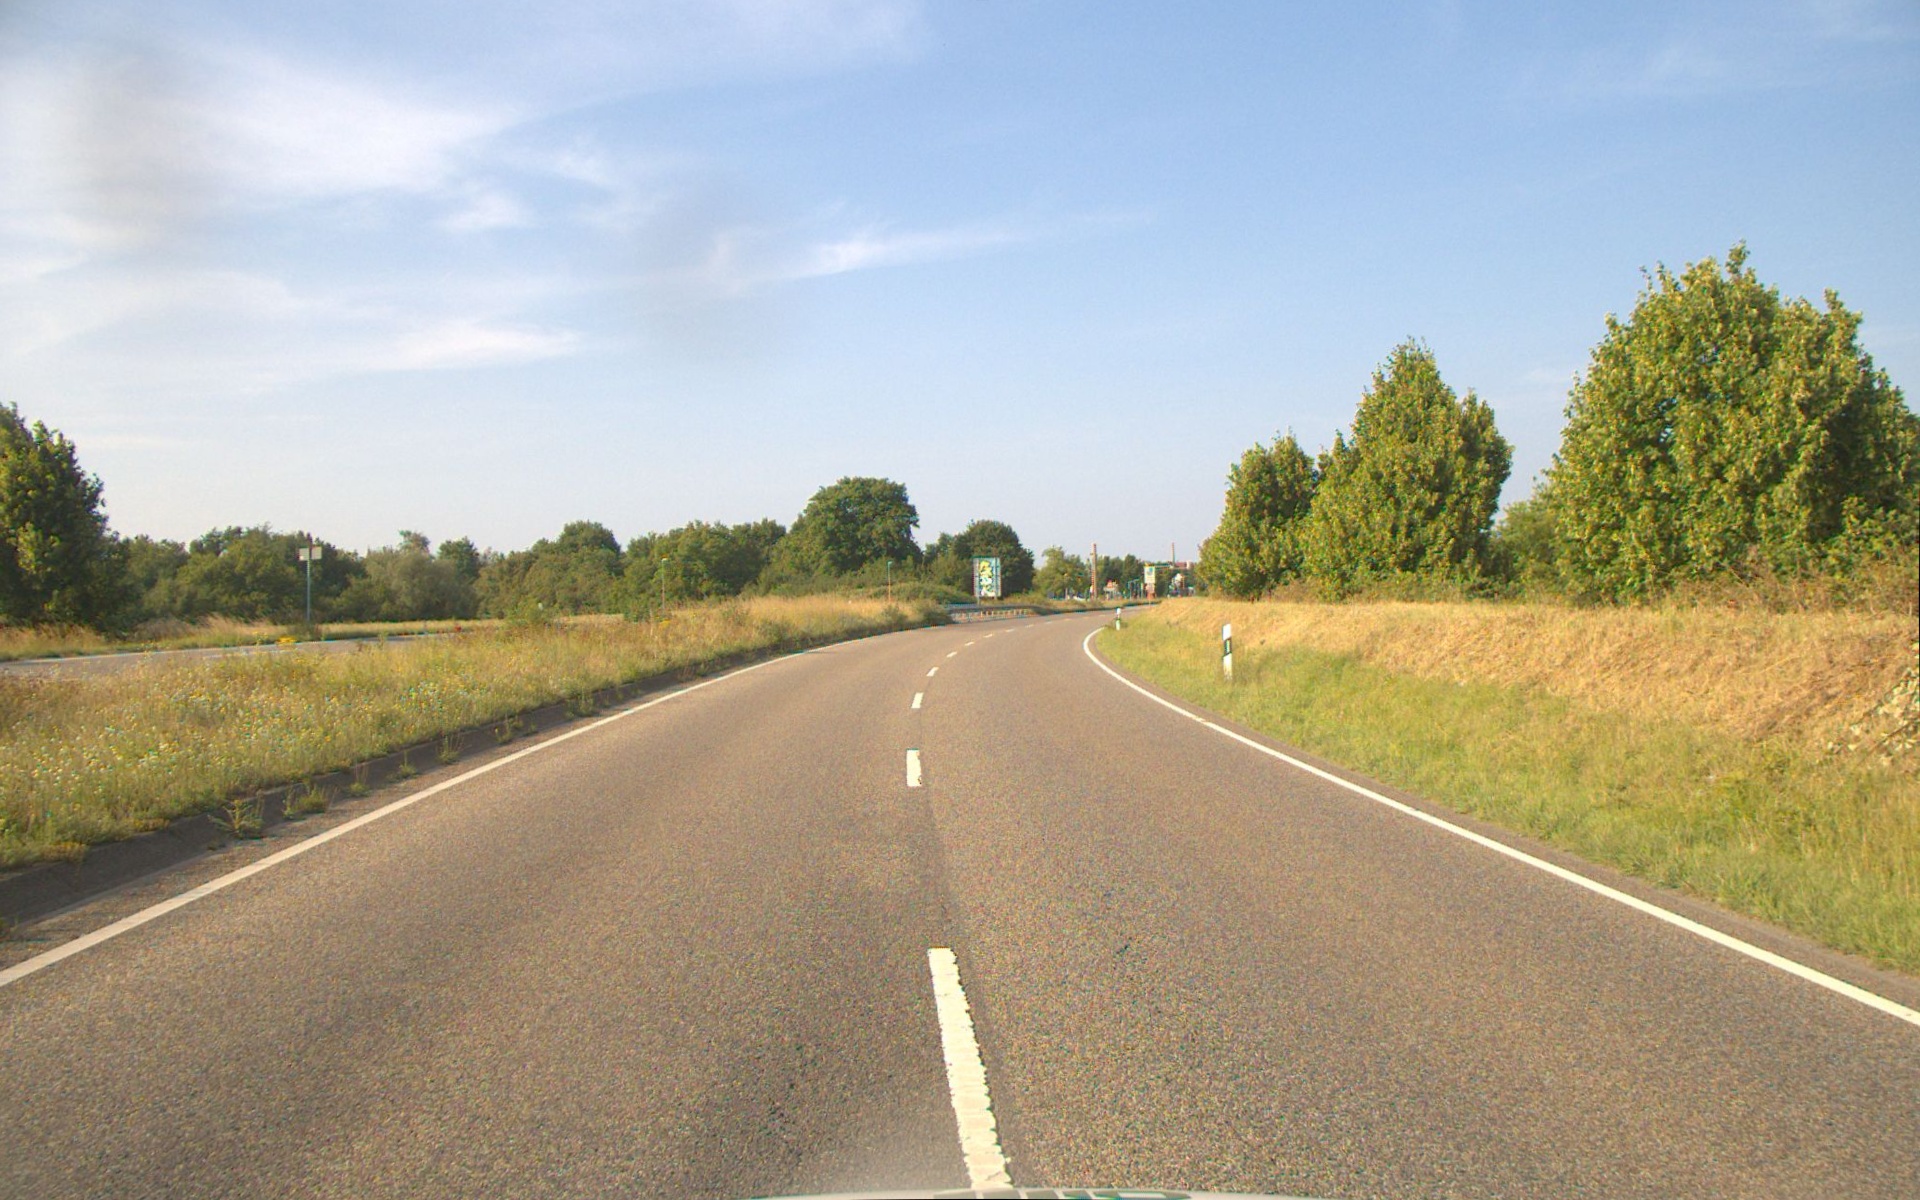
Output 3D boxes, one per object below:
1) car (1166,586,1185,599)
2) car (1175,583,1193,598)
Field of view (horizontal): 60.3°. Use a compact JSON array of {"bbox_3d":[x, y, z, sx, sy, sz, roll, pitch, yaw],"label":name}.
[{"bbox_3d":[26.801,-0.925,205.324,1.695,1.481,4.523,-1,0,15],"label":"car"},{"bbox_3d":[28.729,-1.177,212.068,1.695,1.888,4.523,-1,0,15],"label":"car"}]
